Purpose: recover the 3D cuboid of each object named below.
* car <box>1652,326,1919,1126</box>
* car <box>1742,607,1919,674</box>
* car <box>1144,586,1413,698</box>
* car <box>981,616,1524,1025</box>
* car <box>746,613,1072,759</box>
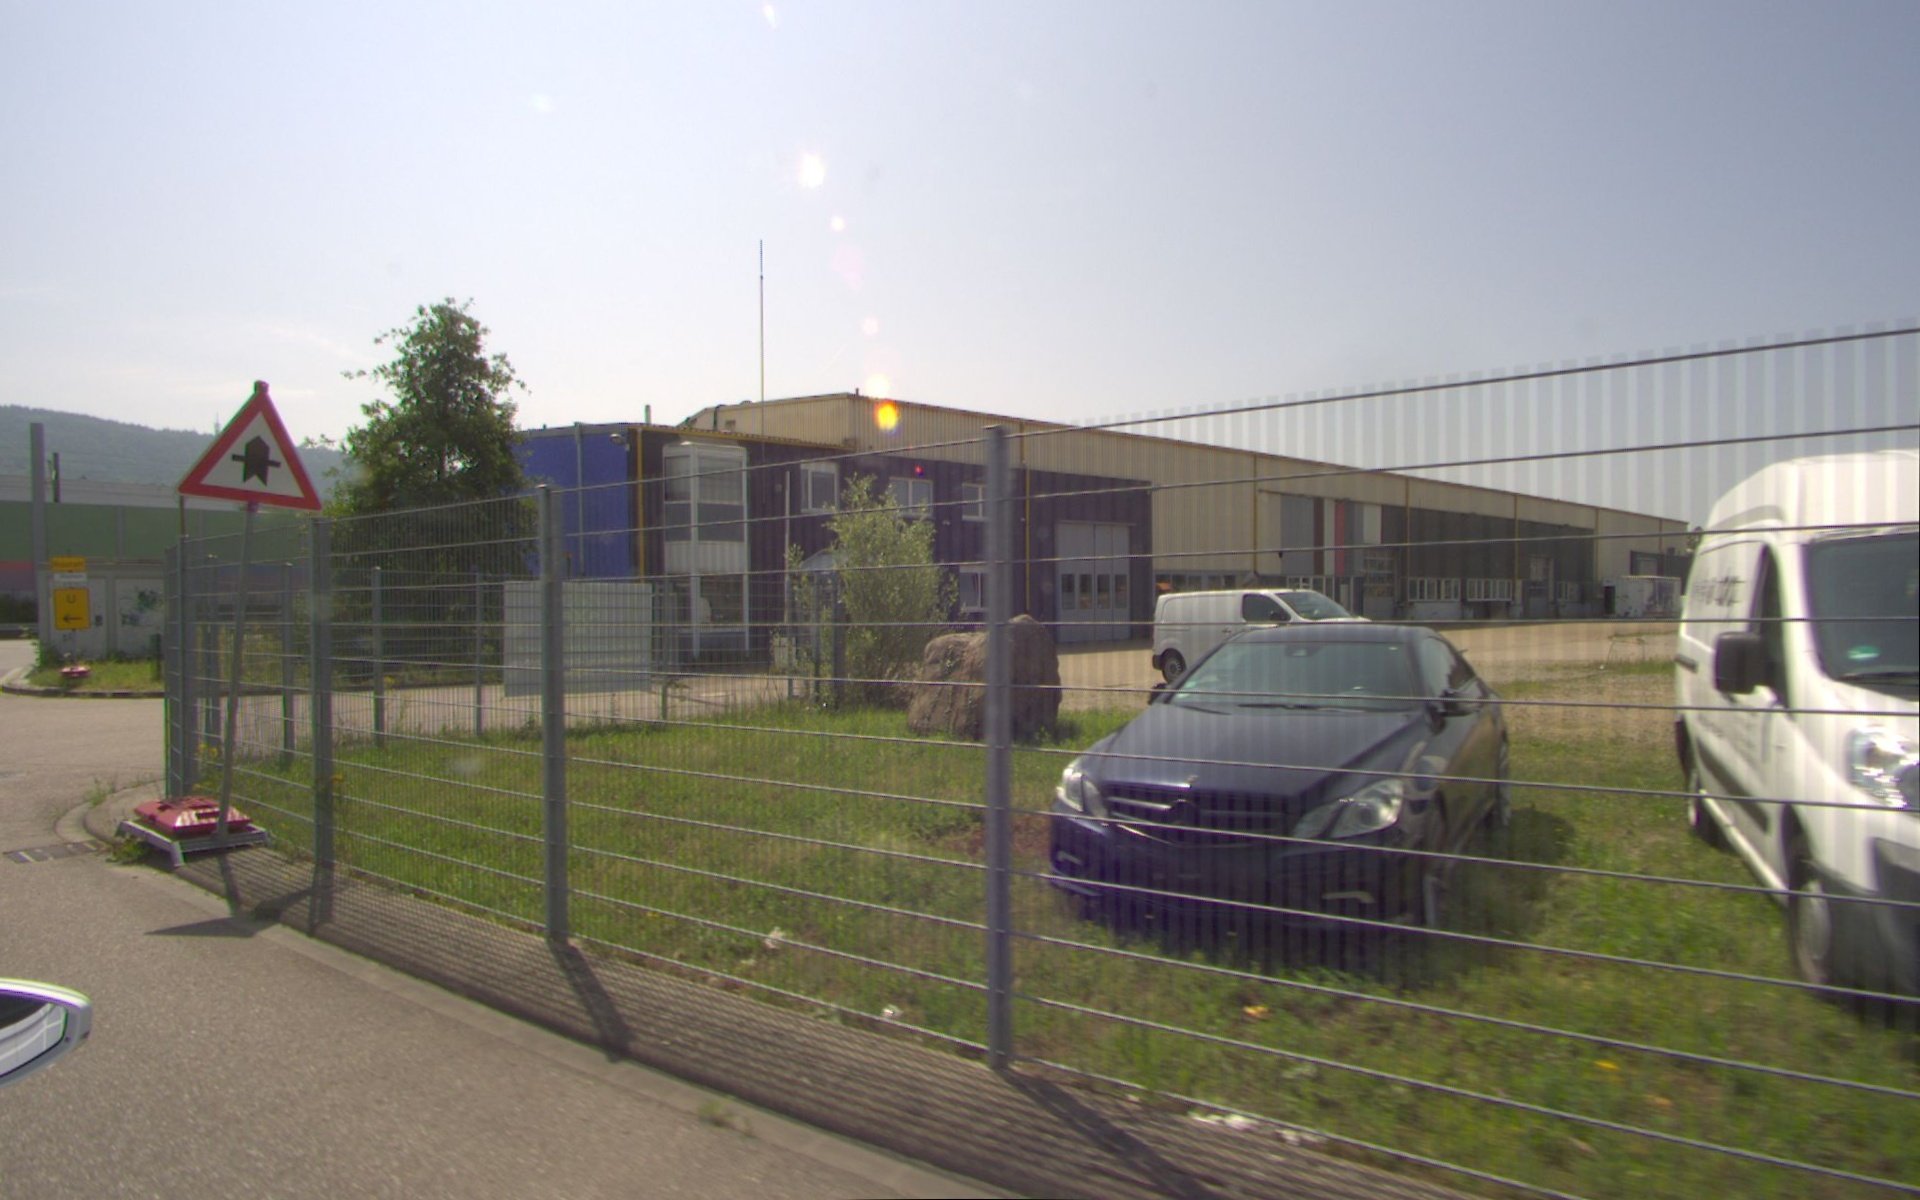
[{"bbox_3d":[4.637,0.339,4.619,1.878,2.177,5.319,-1,0,29],"label":"car"},{"bbox_3d":[20.735,0.896,23.404,1.517,1.455,3.639,-1,0,-38],"label":"car"},{"bbox_3d":[6.074,0.743,19.758,1.833,1.924,5.044,-1,0,-34],"label":"car"},{"bbox_3d":[2.081,0.818,5.890,1.880,1.378,4.410,-1,0,33],"label":"car"},{"bbox_3d":[-0.369,0.816,11.291,1.878,1.294,3.911,-1,0,29],"label":"car"}]
